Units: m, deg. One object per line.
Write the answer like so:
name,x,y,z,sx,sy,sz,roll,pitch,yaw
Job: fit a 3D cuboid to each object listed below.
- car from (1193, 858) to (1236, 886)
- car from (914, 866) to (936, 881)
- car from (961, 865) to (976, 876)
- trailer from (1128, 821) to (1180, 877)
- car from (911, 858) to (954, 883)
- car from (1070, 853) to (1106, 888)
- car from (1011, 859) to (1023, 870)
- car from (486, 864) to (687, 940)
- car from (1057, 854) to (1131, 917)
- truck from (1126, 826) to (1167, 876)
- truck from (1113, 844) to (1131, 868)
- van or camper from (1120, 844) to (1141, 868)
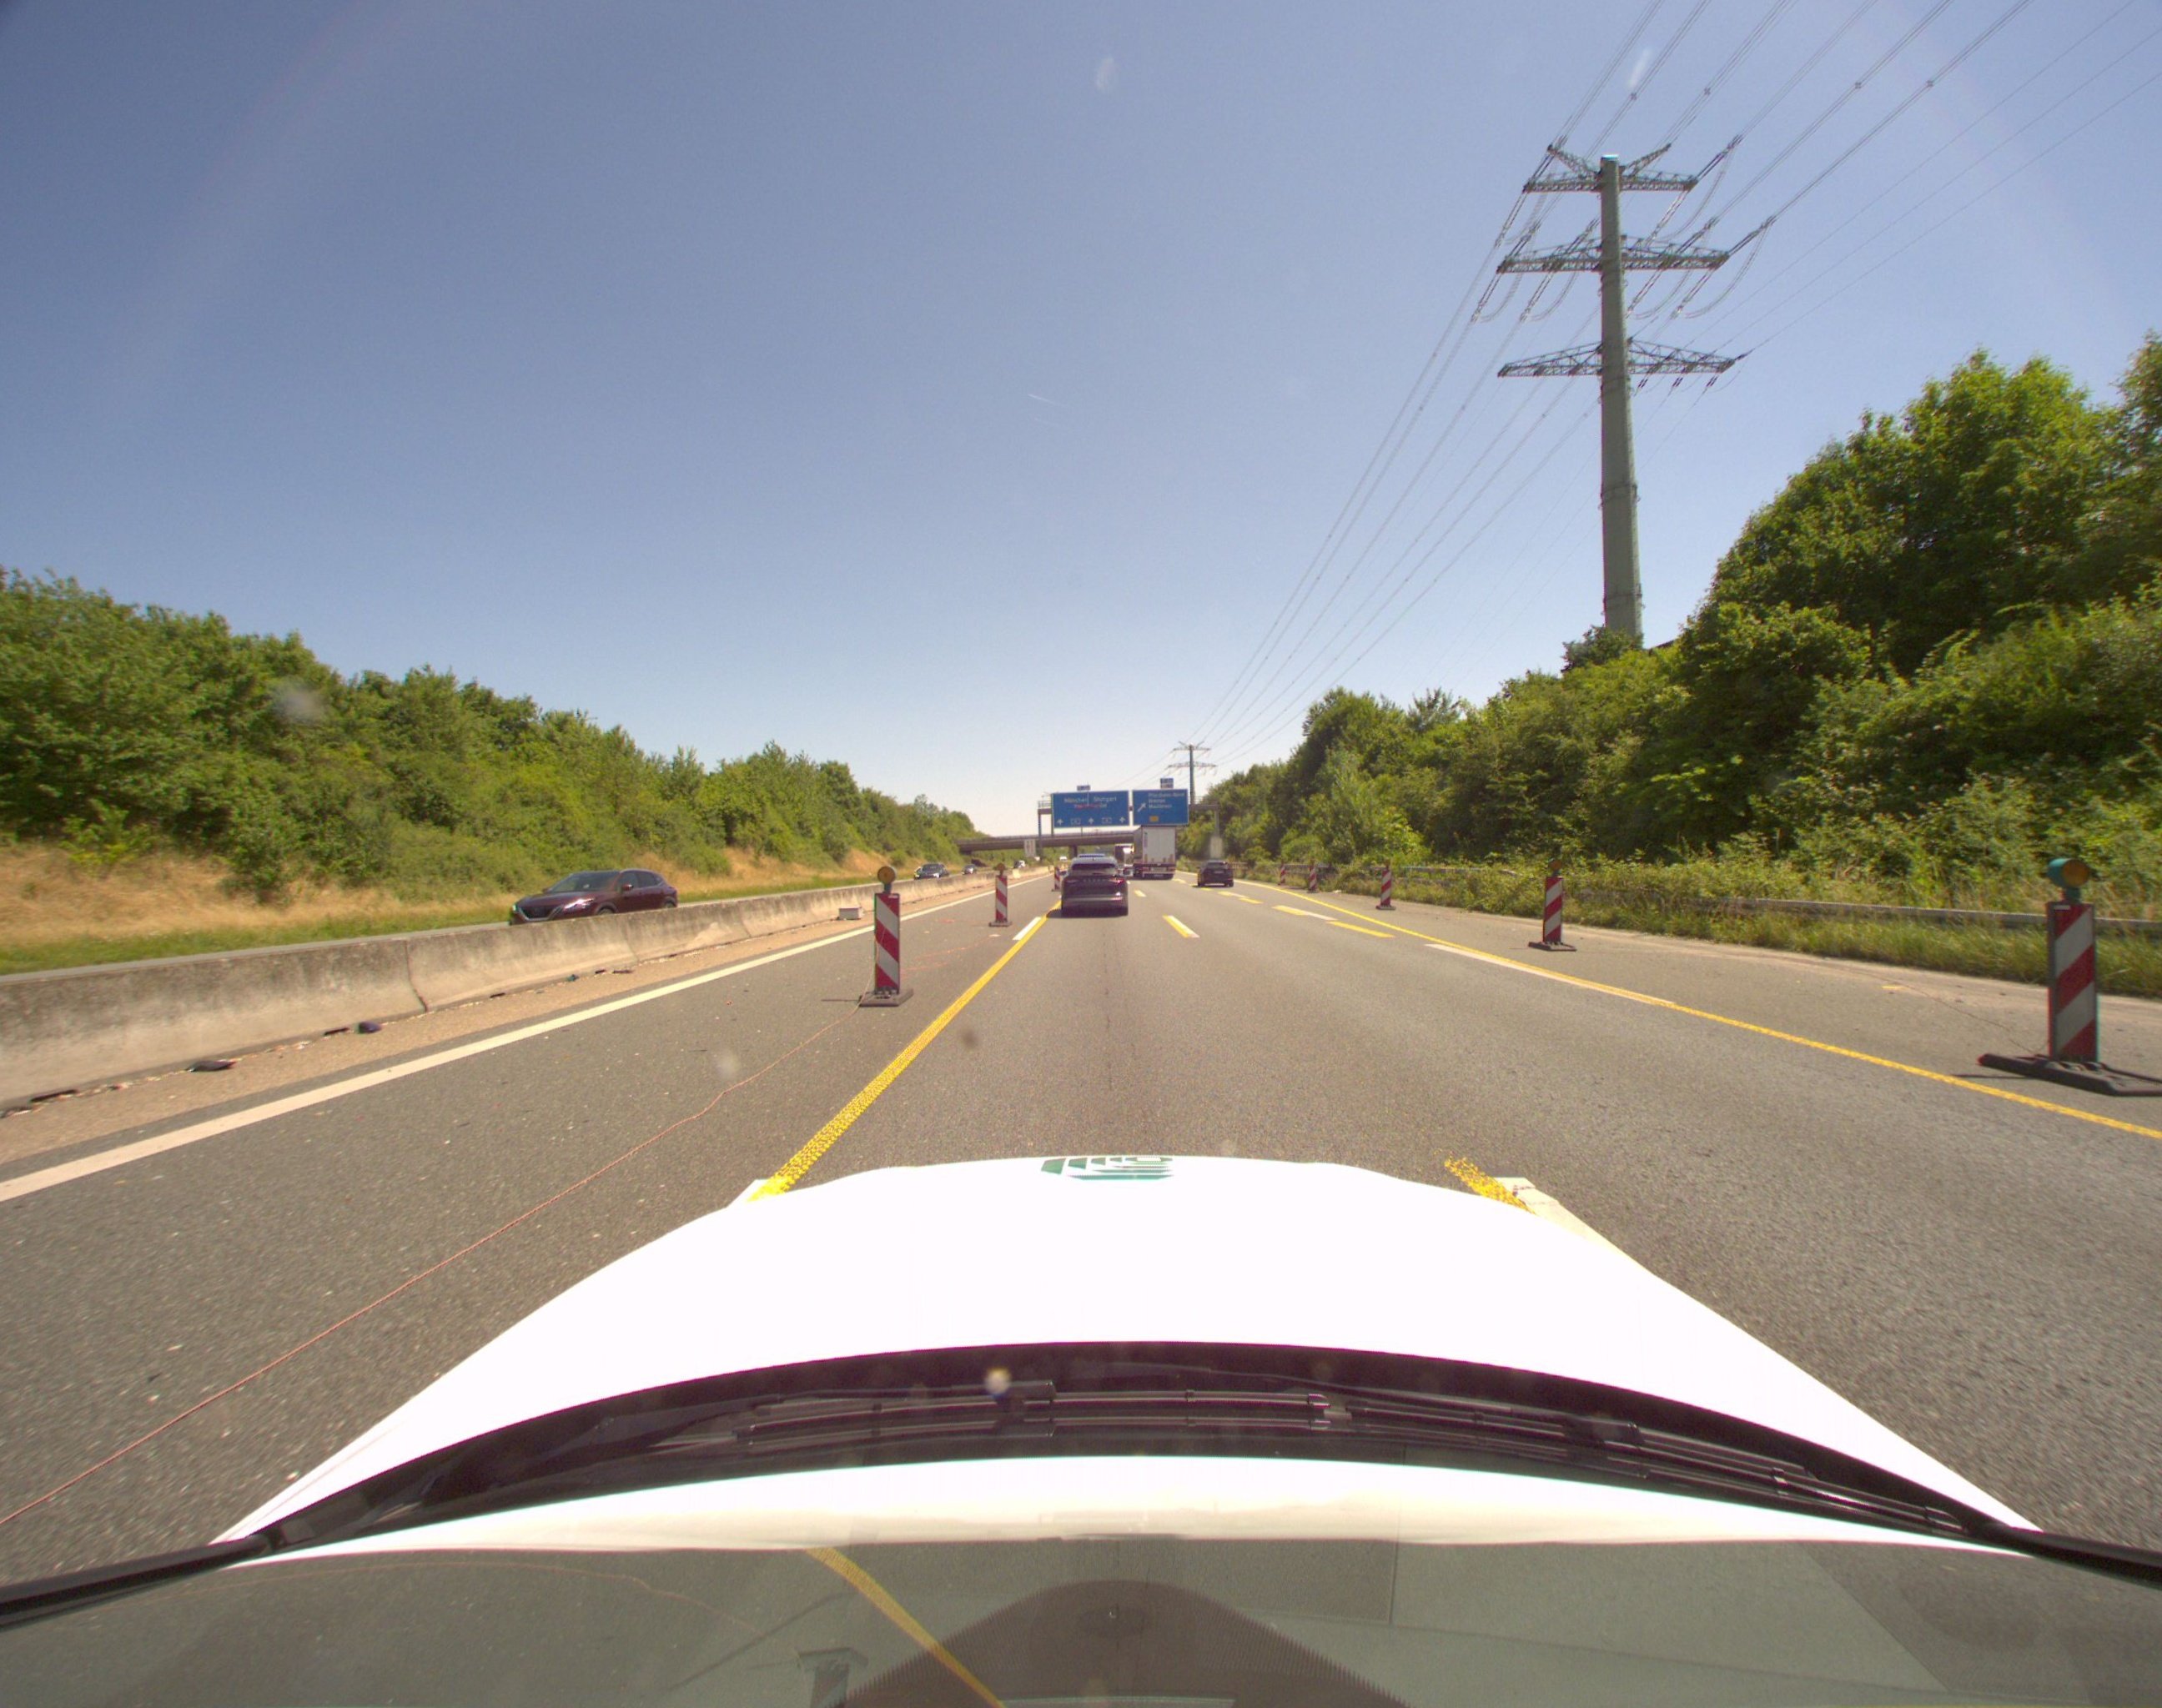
car,7.427,0.973,45.619,1.773,1.489,4.465,0,0,1
car,-17.010,2.110,88.926,1.568,1.464,3.780,-2,0,2
car,-16.230,2.364,117.496,1.494,1.548,4.002,-2,0,2
trailer,5.585,-0.341,64.541,3.055,4.042,11.485,-1,0,0
car,-10.380,1.115,57.286,1.986,1.600,4.584,-2,0,1
car,0.409,0.873,46.031,1.889,1.841,4.442,0,0,1
car,-11.028,1.772,140.797,1.736,1.818,4.620,-2,0,-1
car,-11.202,1.015,18.902,1.842,1.460,4.489,-2,0,1
car,0.363,0.824,23.442,1.889,1.592,4.442,-1,0,0
truck,5.651,-0.224,71.530,3.015,4.087,7.794,-1,0,0
truck,7.358,0.360,145.511,3.065,4.146,13.062,0,0,3
van or camper,6.602,0.229,108.949,2.576,2.968,6.088,3,0,2
